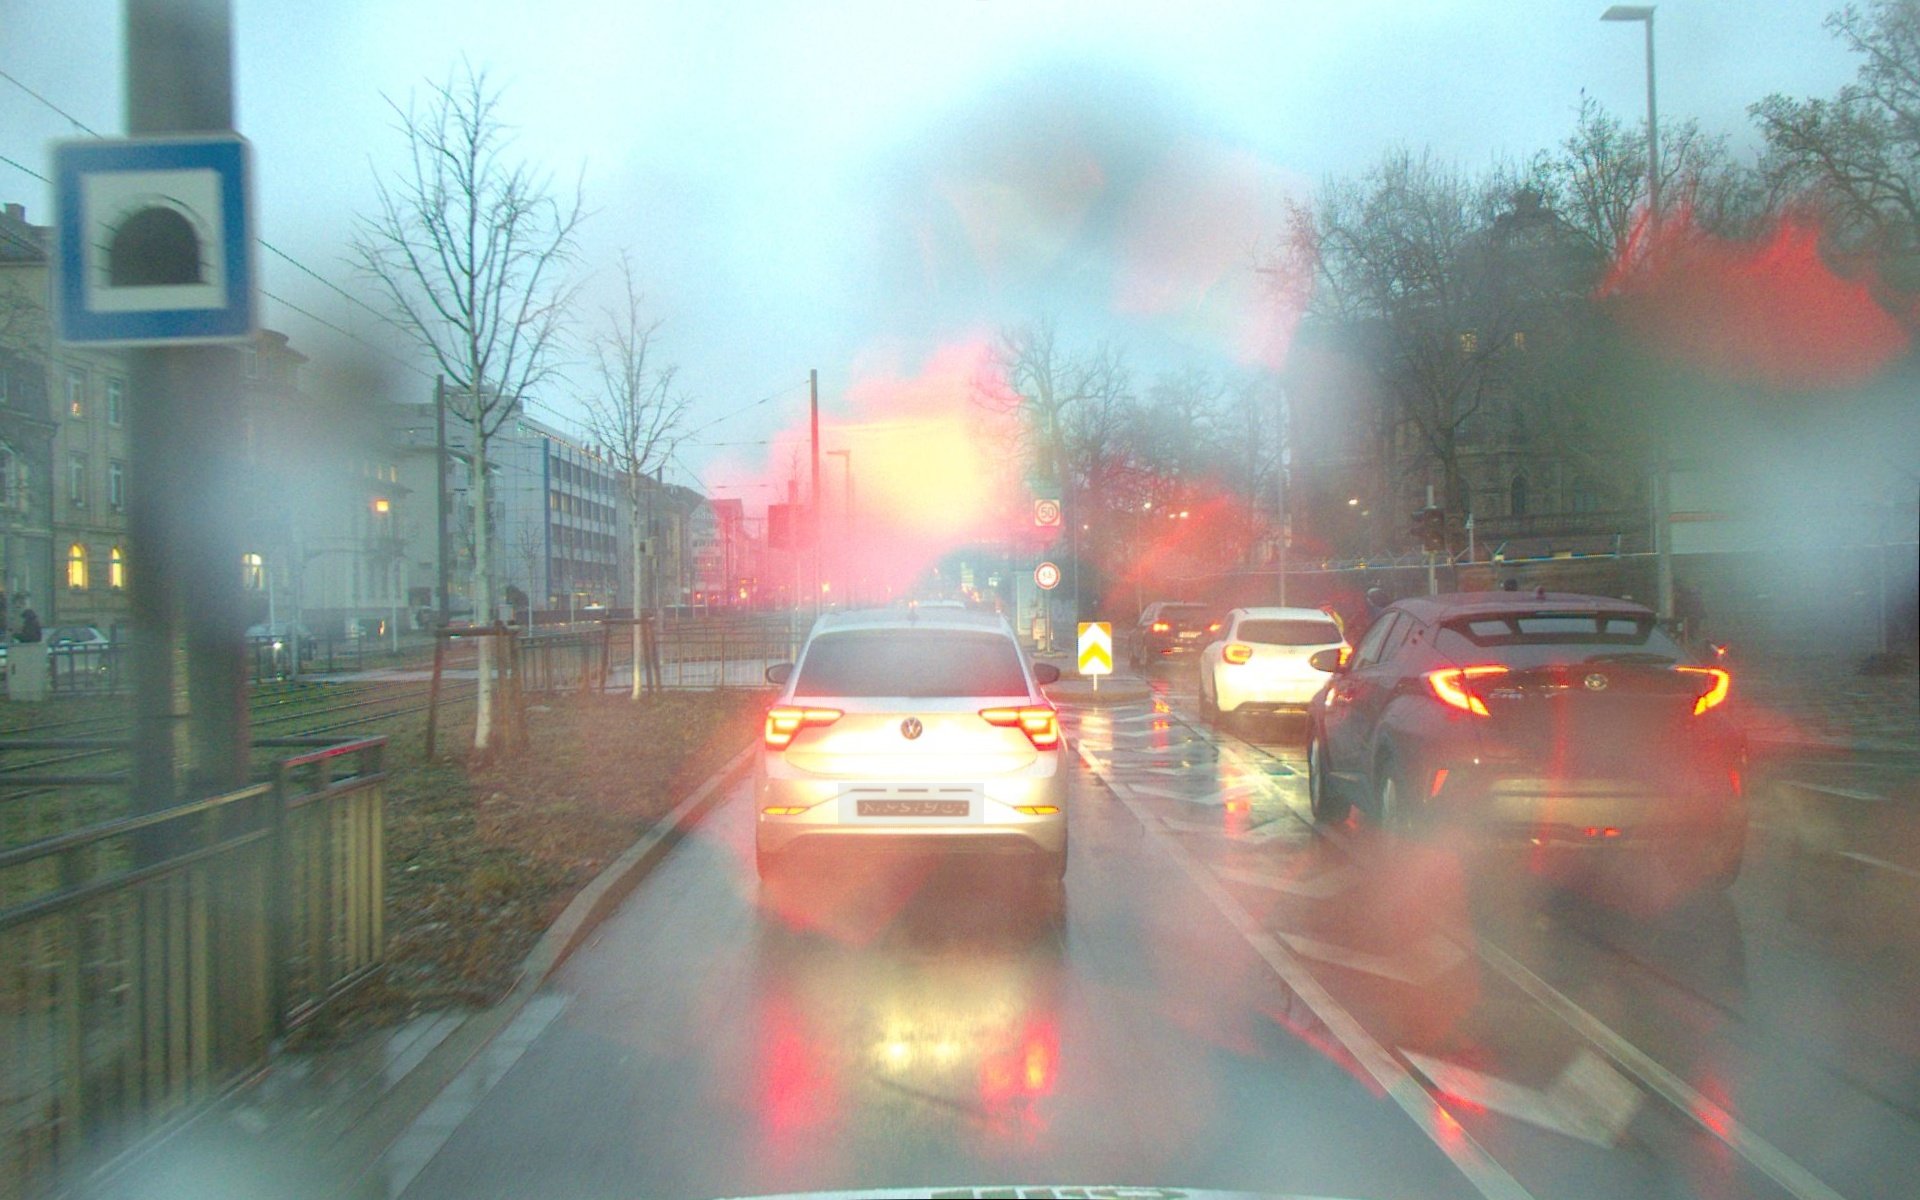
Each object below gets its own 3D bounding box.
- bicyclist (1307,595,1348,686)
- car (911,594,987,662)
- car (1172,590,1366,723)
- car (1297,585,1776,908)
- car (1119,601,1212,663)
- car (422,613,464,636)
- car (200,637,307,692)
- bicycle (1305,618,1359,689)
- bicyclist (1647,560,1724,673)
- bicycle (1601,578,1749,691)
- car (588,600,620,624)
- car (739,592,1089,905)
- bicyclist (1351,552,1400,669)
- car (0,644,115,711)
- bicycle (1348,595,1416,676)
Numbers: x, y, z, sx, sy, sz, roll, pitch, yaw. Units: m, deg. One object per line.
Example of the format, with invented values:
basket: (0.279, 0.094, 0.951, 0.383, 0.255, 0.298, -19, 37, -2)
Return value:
bicyclist: (6.654, 0.727, 29.953, 0.490, 1.619, 0.836, -1, 0, -4)
car: (-0.264, 0.664, 39.271, 1.687, 1.505, 3.999, 1, -1, 0)
car: (3.816, 0.676, 21.042, 1.687, 1.505, 3.999, 1, -1, 0)
car: (3.145, 0.718, 9.870, 1.686, 1.505, 4.002, 1, -1, 4)
car: (4.624, 0.712, 37.730, 1.590, 1.322, 3.999, 1, -1, 0)
car: (-34.890, 1.642, 111.667, 1.770, 1.461, 3.924, -2, 0, -4)
car: (-22.537, 2.029, 52.910, 1.765, 1.613, 3.998, 1, -1, -2)
bicycle: (6.691, 0.938, 29.842, 0.403, 1.206, 1.947, -1, 0, -4)
bicyclist: (11.197, 0.247, 25.537, 0.687, 1.708, 0.810, -1, -1, -27)
bicycle: (11.123, 0.523, 25.806, 0.679, 1.686, 2.229, 1, -1, -25)
car: (-30.335, 0.987, 140.955, 1.954, 1.966, 4.908, -2, 0, -4)
car: (-0.229, 0.726, 10.063, 1.687, 1.505, 4.000, 1, 0, 0)
bicyclist: (6.523, 0.154, 25.980, 0.490, 1.798, 0.836, -1, 0, -4)
car: (-24.321, 2.020, 43.923, 1.765, 1.613, 3.998, 1, -1, -2)
bicycle: (6.577, 0.525, 25.832, 0.403, 1.206, 2.027, -1, 0, -4)
